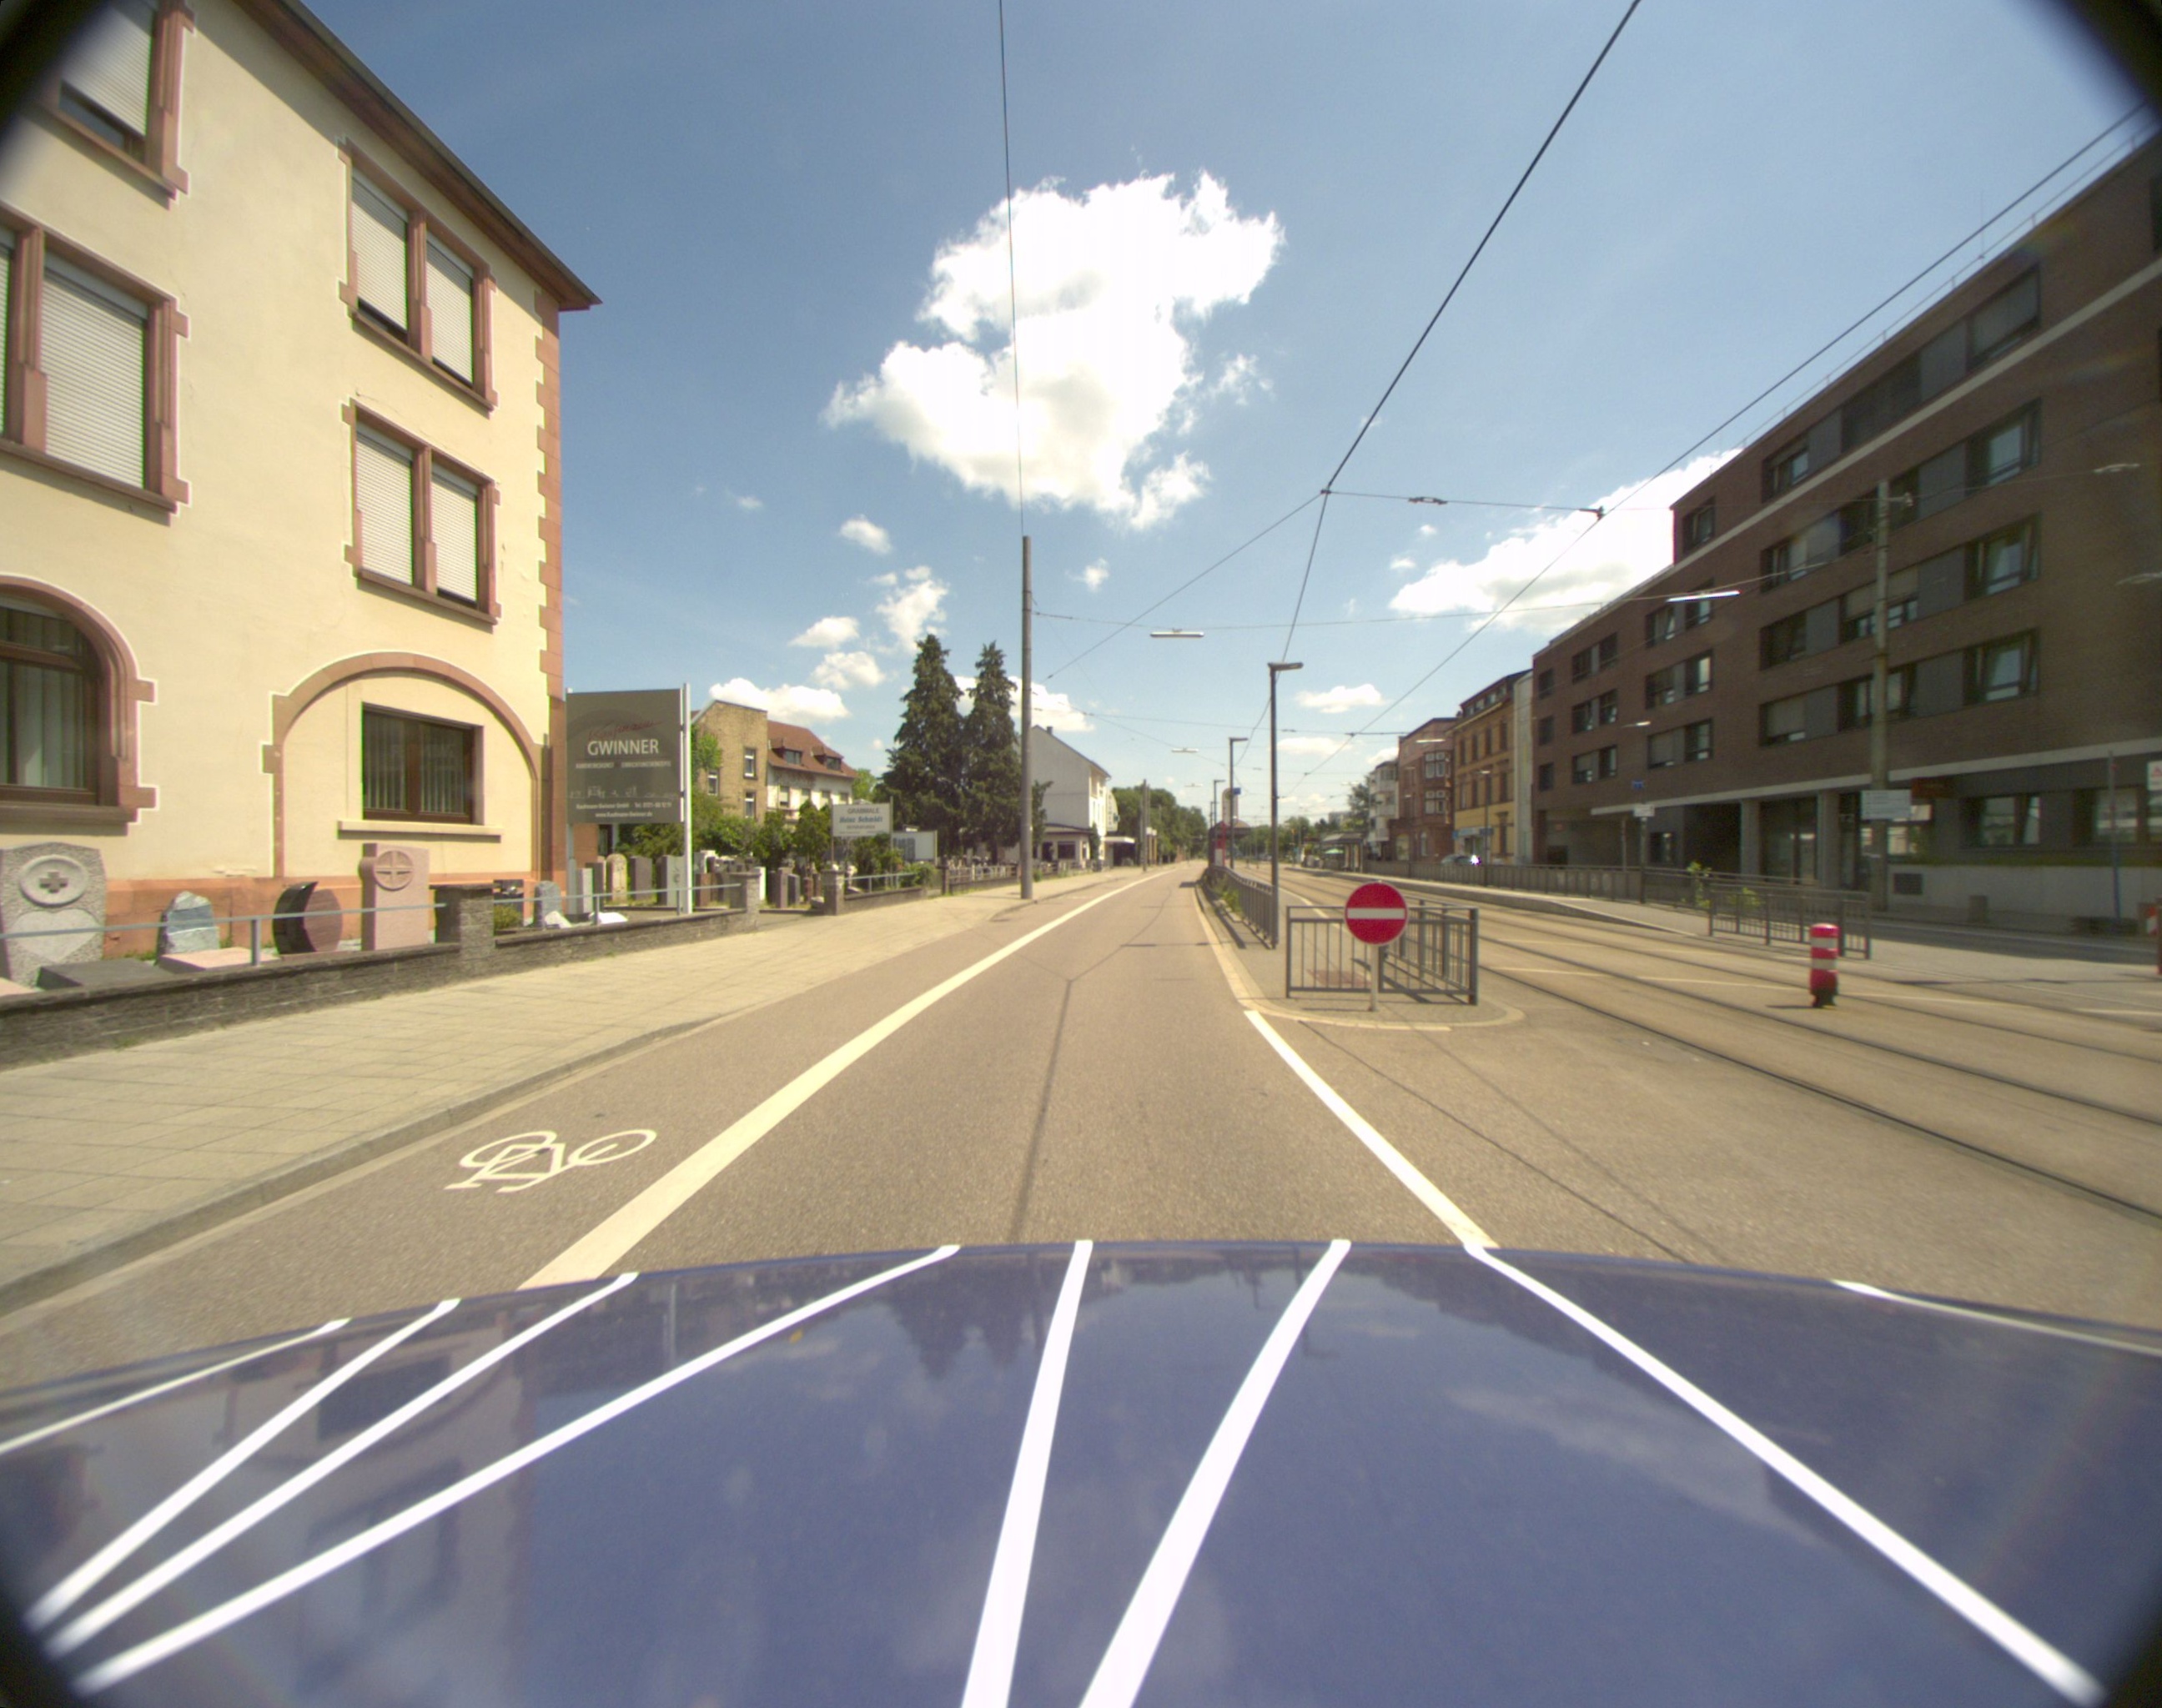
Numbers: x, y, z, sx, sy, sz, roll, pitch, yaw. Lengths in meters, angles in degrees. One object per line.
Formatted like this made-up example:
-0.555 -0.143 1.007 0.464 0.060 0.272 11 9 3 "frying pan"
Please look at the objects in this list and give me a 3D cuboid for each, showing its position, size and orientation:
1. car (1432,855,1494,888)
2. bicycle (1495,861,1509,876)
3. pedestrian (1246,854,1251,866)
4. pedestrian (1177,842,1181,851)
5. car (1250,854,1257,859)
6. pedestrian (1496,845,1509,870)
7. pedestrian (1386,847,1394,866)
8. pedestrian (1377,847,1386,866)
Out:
20.698 0.903 41.301 1.840 1.618 3.774 2 1 8 "car"
23.366 0.789 42.228 0.292 0.757 1.188 2 1 10 "bicycle"
21.707 0.783 98.518 0.578 1.547 0.786 2 2 13 "pedestrian"
20.428 -1.635 158.979 0.766 1.841 0.718 0 1 7 "pedestrian"
55.509 0.752 244.377 1.997 1.463 4.404 0 0 9 "car"
23.438 0.212 42.211 0.436 1.376 0.536 2 2 10 "pedestrian"
32.429 0.279 79.802 0.618 2.002 0.811 0 1 8 "pedestrian"
31.658 0.253 79.985 0.678 2.002 0.685 -1 1 8 "pedestrian"
